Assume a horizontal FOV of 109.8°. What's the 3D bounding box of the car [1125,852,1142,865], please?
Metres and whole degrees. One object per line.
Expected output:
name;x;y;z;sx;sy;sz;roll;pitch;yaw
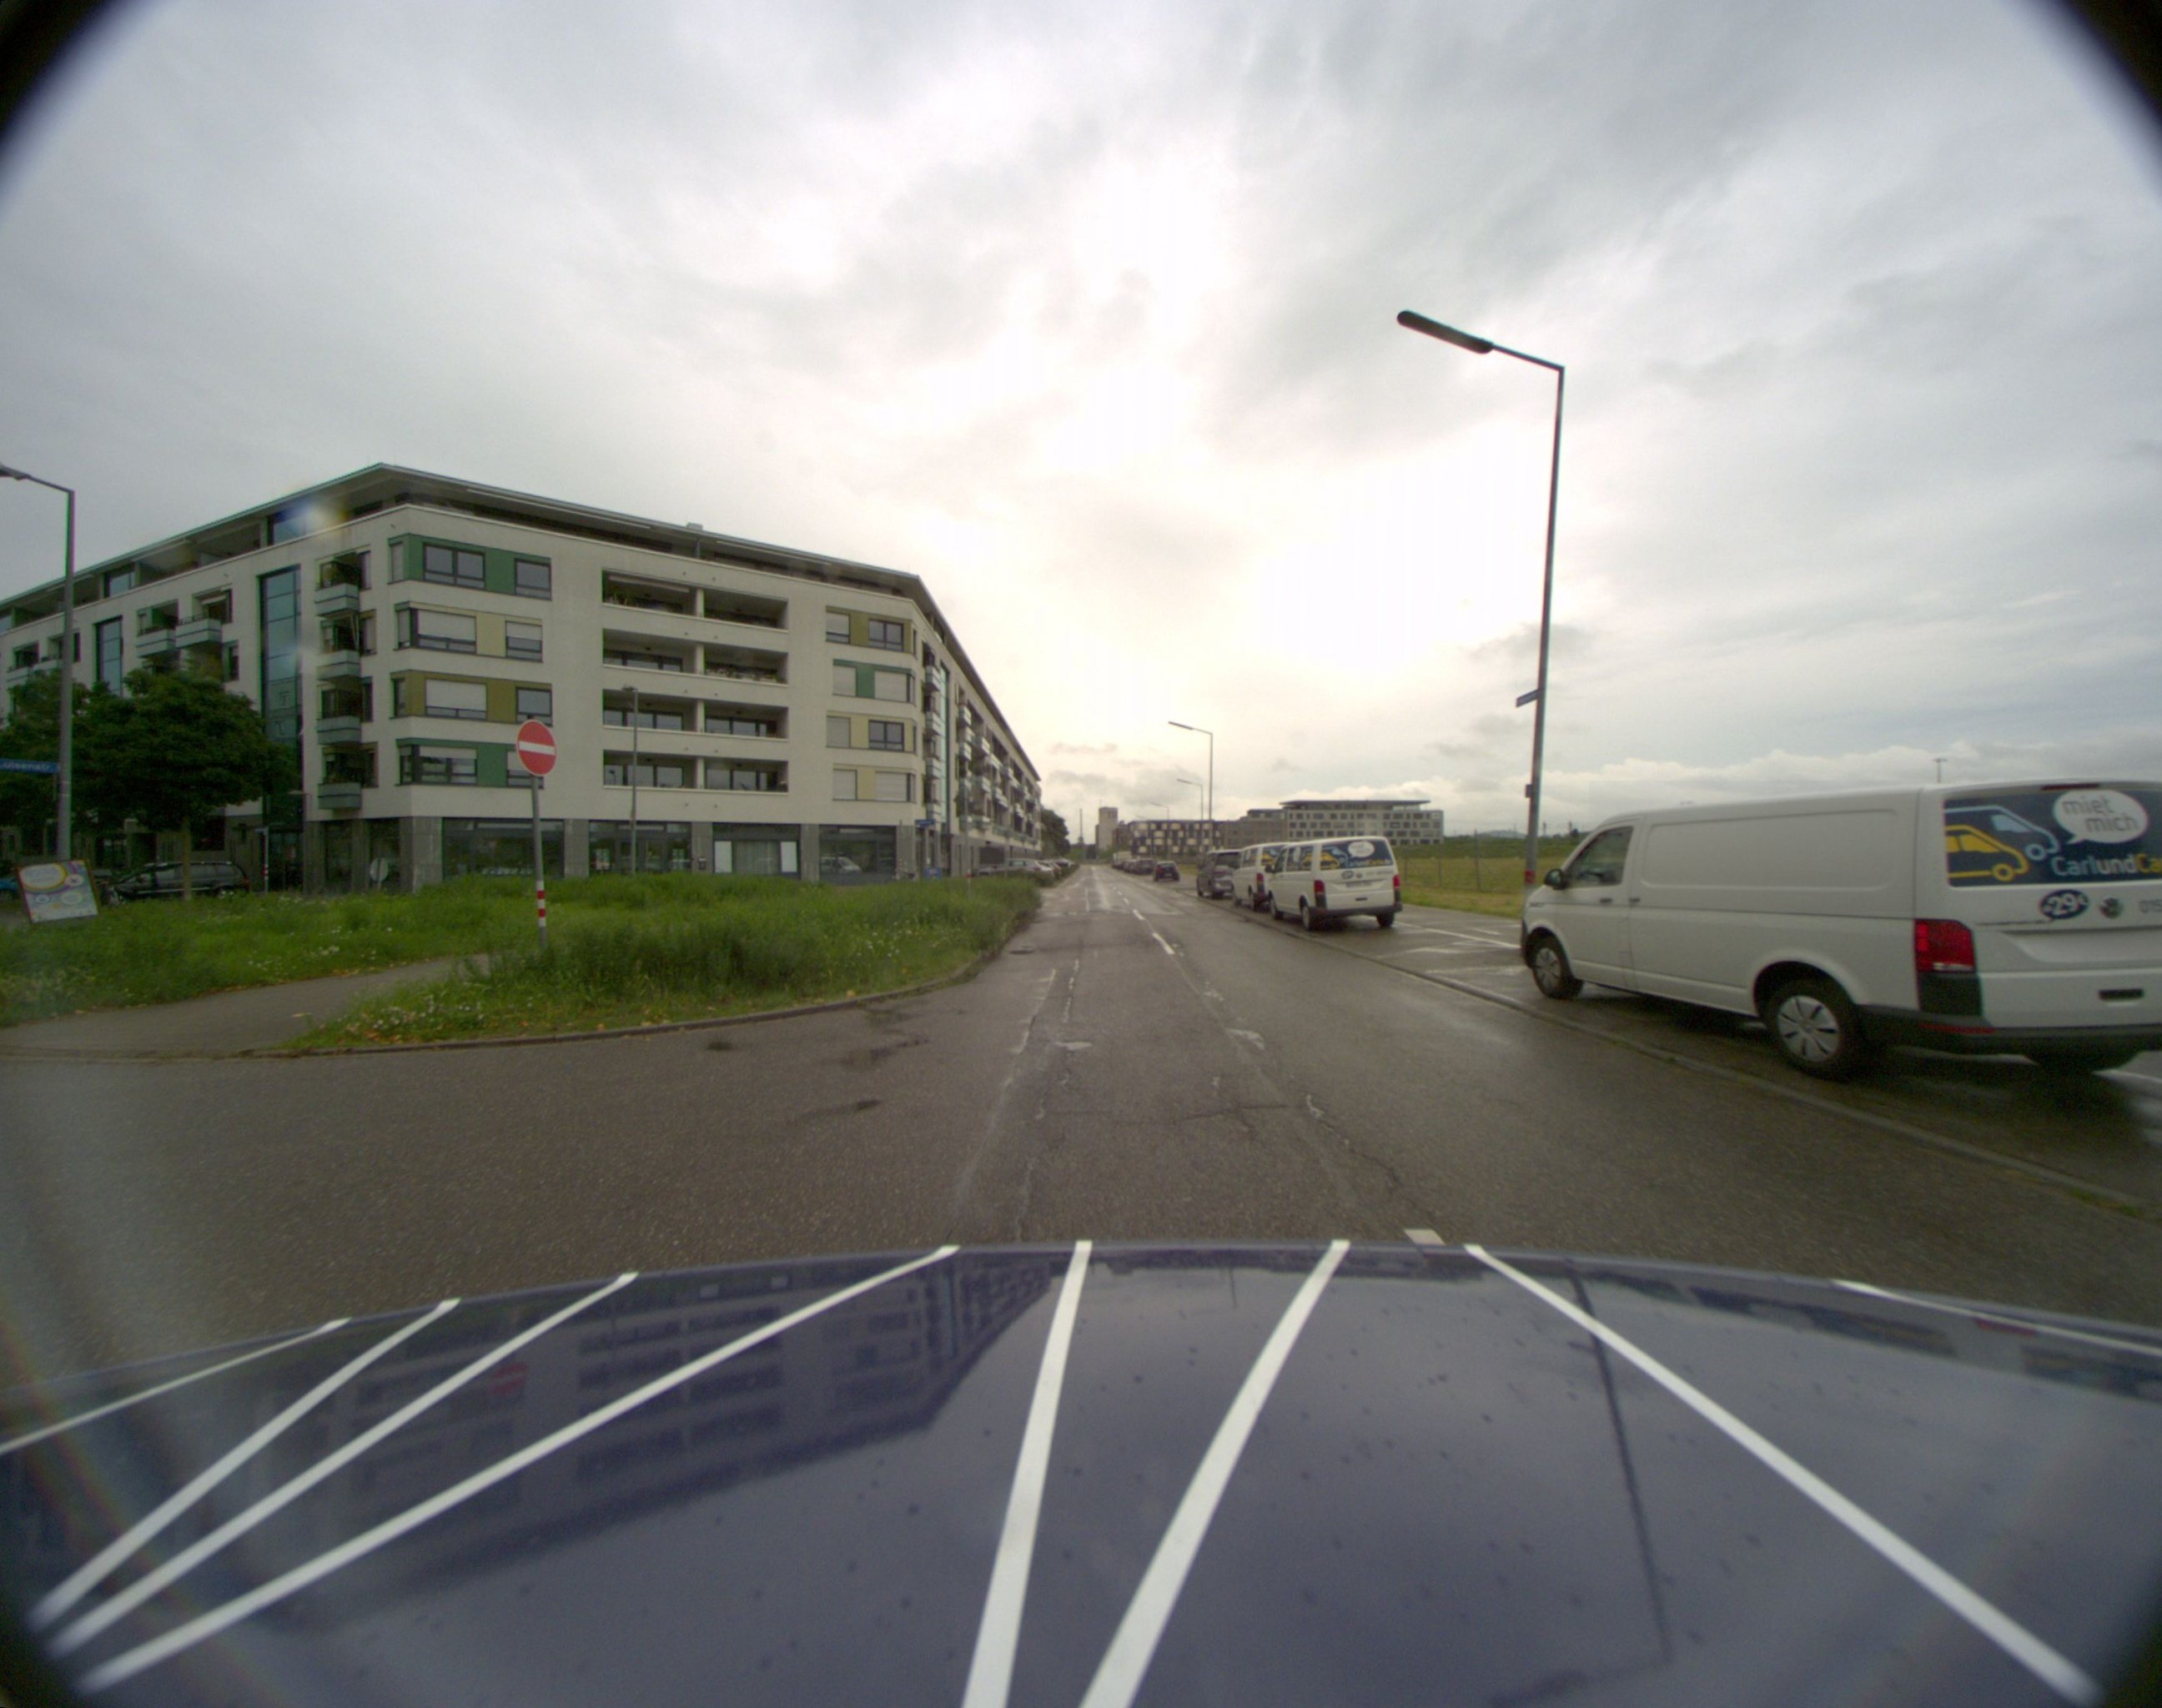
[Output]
car;6.946;0.602;100.898;1.857;1.598;4.989;-4;0;0

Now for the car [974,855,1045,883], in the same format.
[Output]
car;-4.343;0.898;46.592;4.100;1.614;1.966;2;0;0

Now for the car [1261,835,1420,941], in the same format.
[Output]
car;5.782;0.691;17.727;1.964;2.046;5.274;-2;0;1

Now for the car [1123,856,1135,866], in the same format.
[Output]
car;7.175;1.034;113.977;1.676;1.454;4.157;-1;0;1

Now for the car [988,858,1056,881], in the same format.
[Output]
car;-3.928;1.062;51.534;4.420;1.397;1.910;1;0;0

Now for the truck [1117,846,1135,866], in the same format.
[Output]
truck;7.184;0.277;121.819;2.442;3.050;6.700;-2;0;0

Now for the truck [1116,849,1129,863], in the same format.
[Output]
truck;7.685;0.409;141.867;2.180;2.591;6.132;-1;0;1

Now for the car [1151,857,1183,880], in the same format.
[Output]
car;6.281;1.022;55.778;1.851;1.552;4.152;-3;0;1

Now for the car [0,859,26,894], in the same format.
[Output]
car;-54.634;1.135;36.615;1.809;1.744;4.110;0;0;24

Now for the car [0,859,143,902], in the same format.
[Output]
car;-42.971;1.071;31.839;1.736;1.641;4.358;0;0;29

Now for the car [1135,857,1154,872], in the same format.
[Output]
car;6.914;1.104;82.945;1.757;1.581;4.133;-1;0;1

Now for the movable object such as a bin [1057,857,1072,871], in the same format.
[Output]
movable object such as a bin;-1.779;1.105;83.364;1.499;1.484;1.156;2;0;1

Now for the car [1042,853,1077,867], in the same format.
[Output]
car;-3.179;0.823;111.597;5.062;1.917;1.982;1;0;1

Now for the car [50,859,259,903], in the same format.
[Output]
car;-33.908;0.933;27.994;1.809;1.424;4.531;0;0;24

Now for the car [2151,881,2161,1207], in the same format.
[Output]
car;5.751;0.858;1.054;1.688;1.493;4.892;-1;0;1

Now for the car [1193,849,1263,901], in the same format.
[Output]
car;5.895;0.793;31.135;1.960;1.890;4.995;-1;0;1

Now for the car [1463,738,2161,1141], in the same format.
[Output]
car;5.878;0.484;6.996;1.947;2.223;5.557;-1;0;1

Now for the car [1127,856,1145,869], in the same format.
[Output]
car;6.792;1.053;94.327;1.842;1.519;4.670;-3;0;1

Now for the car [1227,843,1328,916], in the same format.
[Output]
car;5.975;0.716;23.832;1.899;2.002;5.258;-1;0;1

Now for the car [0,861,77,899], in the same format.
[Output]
car;-51.861;1.248;36.468;1.809;1.744;4.110;0;0;24

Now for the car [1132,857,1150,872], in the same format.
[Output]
car;6.965;1.203;88.739;1.730;1.566;4.210;-1;0;-1

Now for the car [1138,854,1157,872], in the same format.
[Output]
car;6.719;0.900;77.229;1.756;1.683;4.882;-1;0;4

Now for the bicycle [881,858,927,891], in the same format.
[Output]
bicycle;-8.490;0.958;36.450;2.189;1.514;0.631;0;1;21
